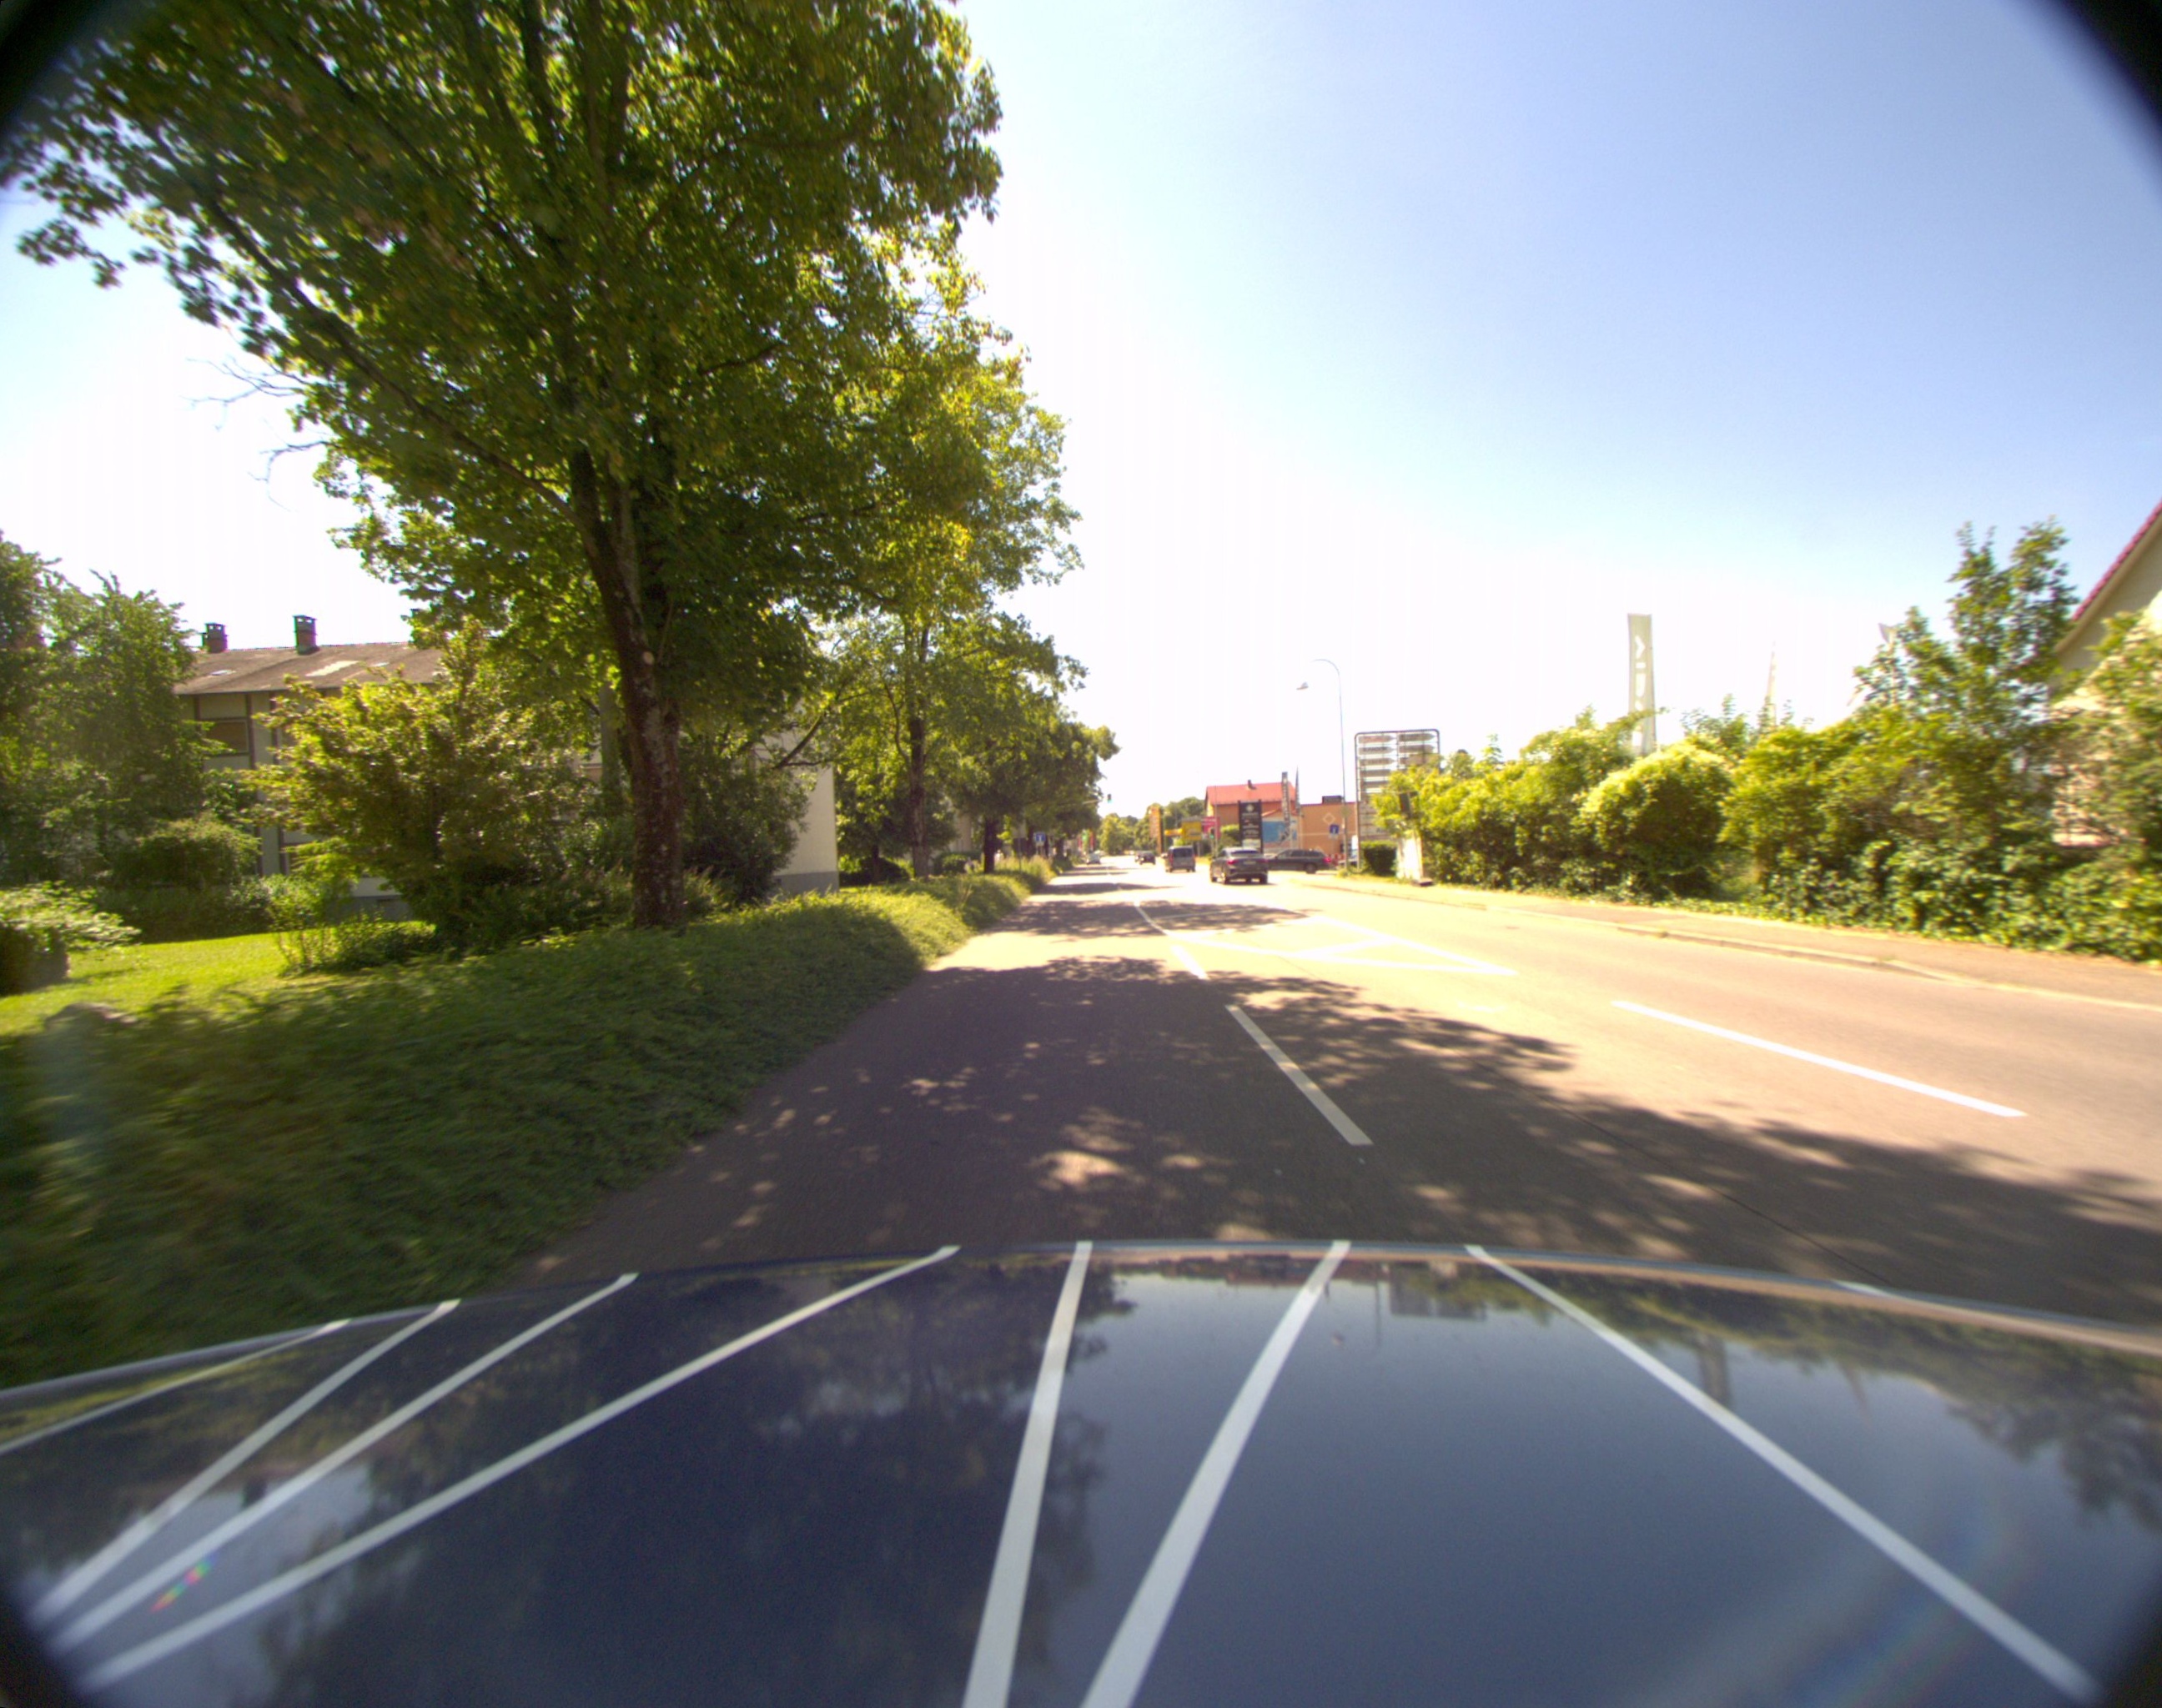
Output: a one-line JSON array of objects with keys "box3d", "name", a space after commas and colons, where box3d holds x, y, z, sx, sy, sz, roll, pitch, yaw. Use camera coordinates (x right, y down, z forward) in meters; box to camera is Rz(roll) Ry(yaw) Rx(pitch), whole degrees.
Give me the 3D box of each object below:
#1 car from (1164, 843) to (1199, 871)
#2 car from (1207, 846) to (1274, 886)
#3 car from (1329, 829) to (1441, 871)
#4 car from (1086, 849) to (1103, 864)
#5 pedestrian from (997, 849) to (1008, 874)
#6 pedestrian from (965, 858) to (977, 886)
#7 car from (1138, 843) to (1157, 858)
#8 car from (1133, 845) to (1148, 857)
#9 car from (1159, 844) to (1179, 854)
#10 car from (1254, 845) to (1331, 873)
[{"box3d": [6.831, 0.180, 52.037, 1.883, 1.731, 4.321, -2, 1, 2], "name": "car"}, {"box3d": [6.824, 0.454, 32.948, 1.884, 1.540, 4.320, -2, 1, -1], "name": "car"}, {"box3d": [17.664, -0.222, 44.435, 5.708, 2.117, 2.176, -3, 1, 10], "name": "car"}, {"box3d": [1.682, 0.289, 91.621, 1.883, 1.623, 4.321, -2, 1, 2], "name": "car"}, {"box3d": [-6.118, 0.560, 59.055, 0.677, 1.915, 0.621, -3, 1, 0], "name": "pedestrian"}, {"box3d": [-7.687, 1.255, 53.096, 0.677, 1.915, 0.621, -3, 1, 0], "name": "pedestrian"}, {"box3d": [7.480, -0.388, 85.393, 1.883, 1.623, 4.321, -2, 1, 2], "name": "car"}, {"box3d": [8.371, -0.404, 107.200, 1.883, 1.623, 4.321, -2, 1, 2], "name": "car"}, {"box3d": [13.641, -0.740, 117.914, 1.995, 1.412, 4.005, -3, 1, 23], "name": "car"}, {"box3d": [12.704, 0.292, 45.559, 4.312, 1.540, 1.887, -2, 1, 19], "name": "car"}]
